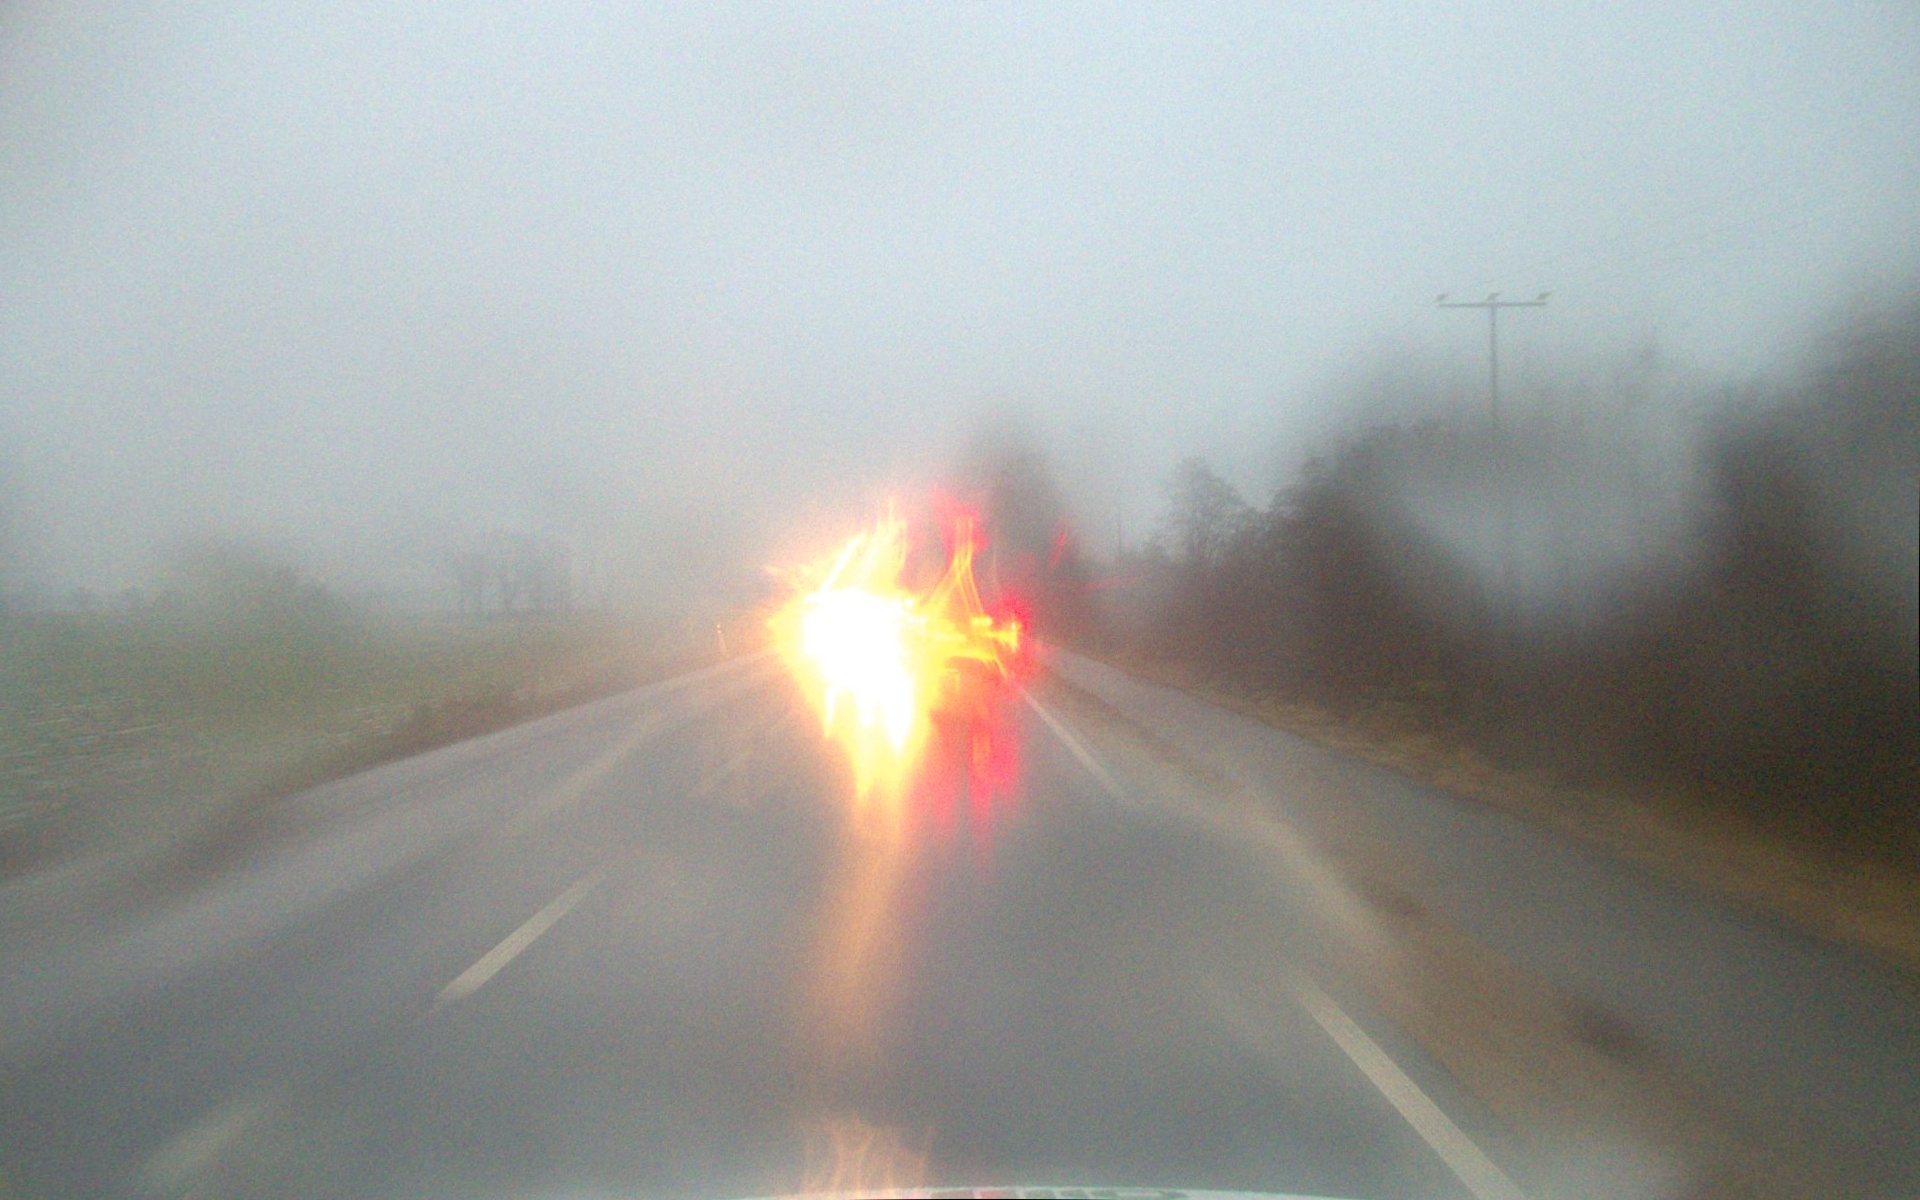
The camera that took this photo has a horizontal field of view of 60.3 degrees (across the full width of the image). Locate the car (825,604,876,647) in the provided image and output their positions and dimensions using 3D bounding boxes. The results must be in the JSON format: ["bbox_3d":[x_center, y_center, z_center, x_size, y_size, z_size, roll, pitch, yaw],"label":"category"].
[{"bbox_3d":[-4.285,0.991,65.326,1.785,1.588,3.655,-1,0,-1],"label":"car"}]

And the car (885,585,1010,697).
[{"bbox_3d":[-0.231,0.721,30.109,2.076,1.852,4.979,0,-1,-1],"label":"car"}]
